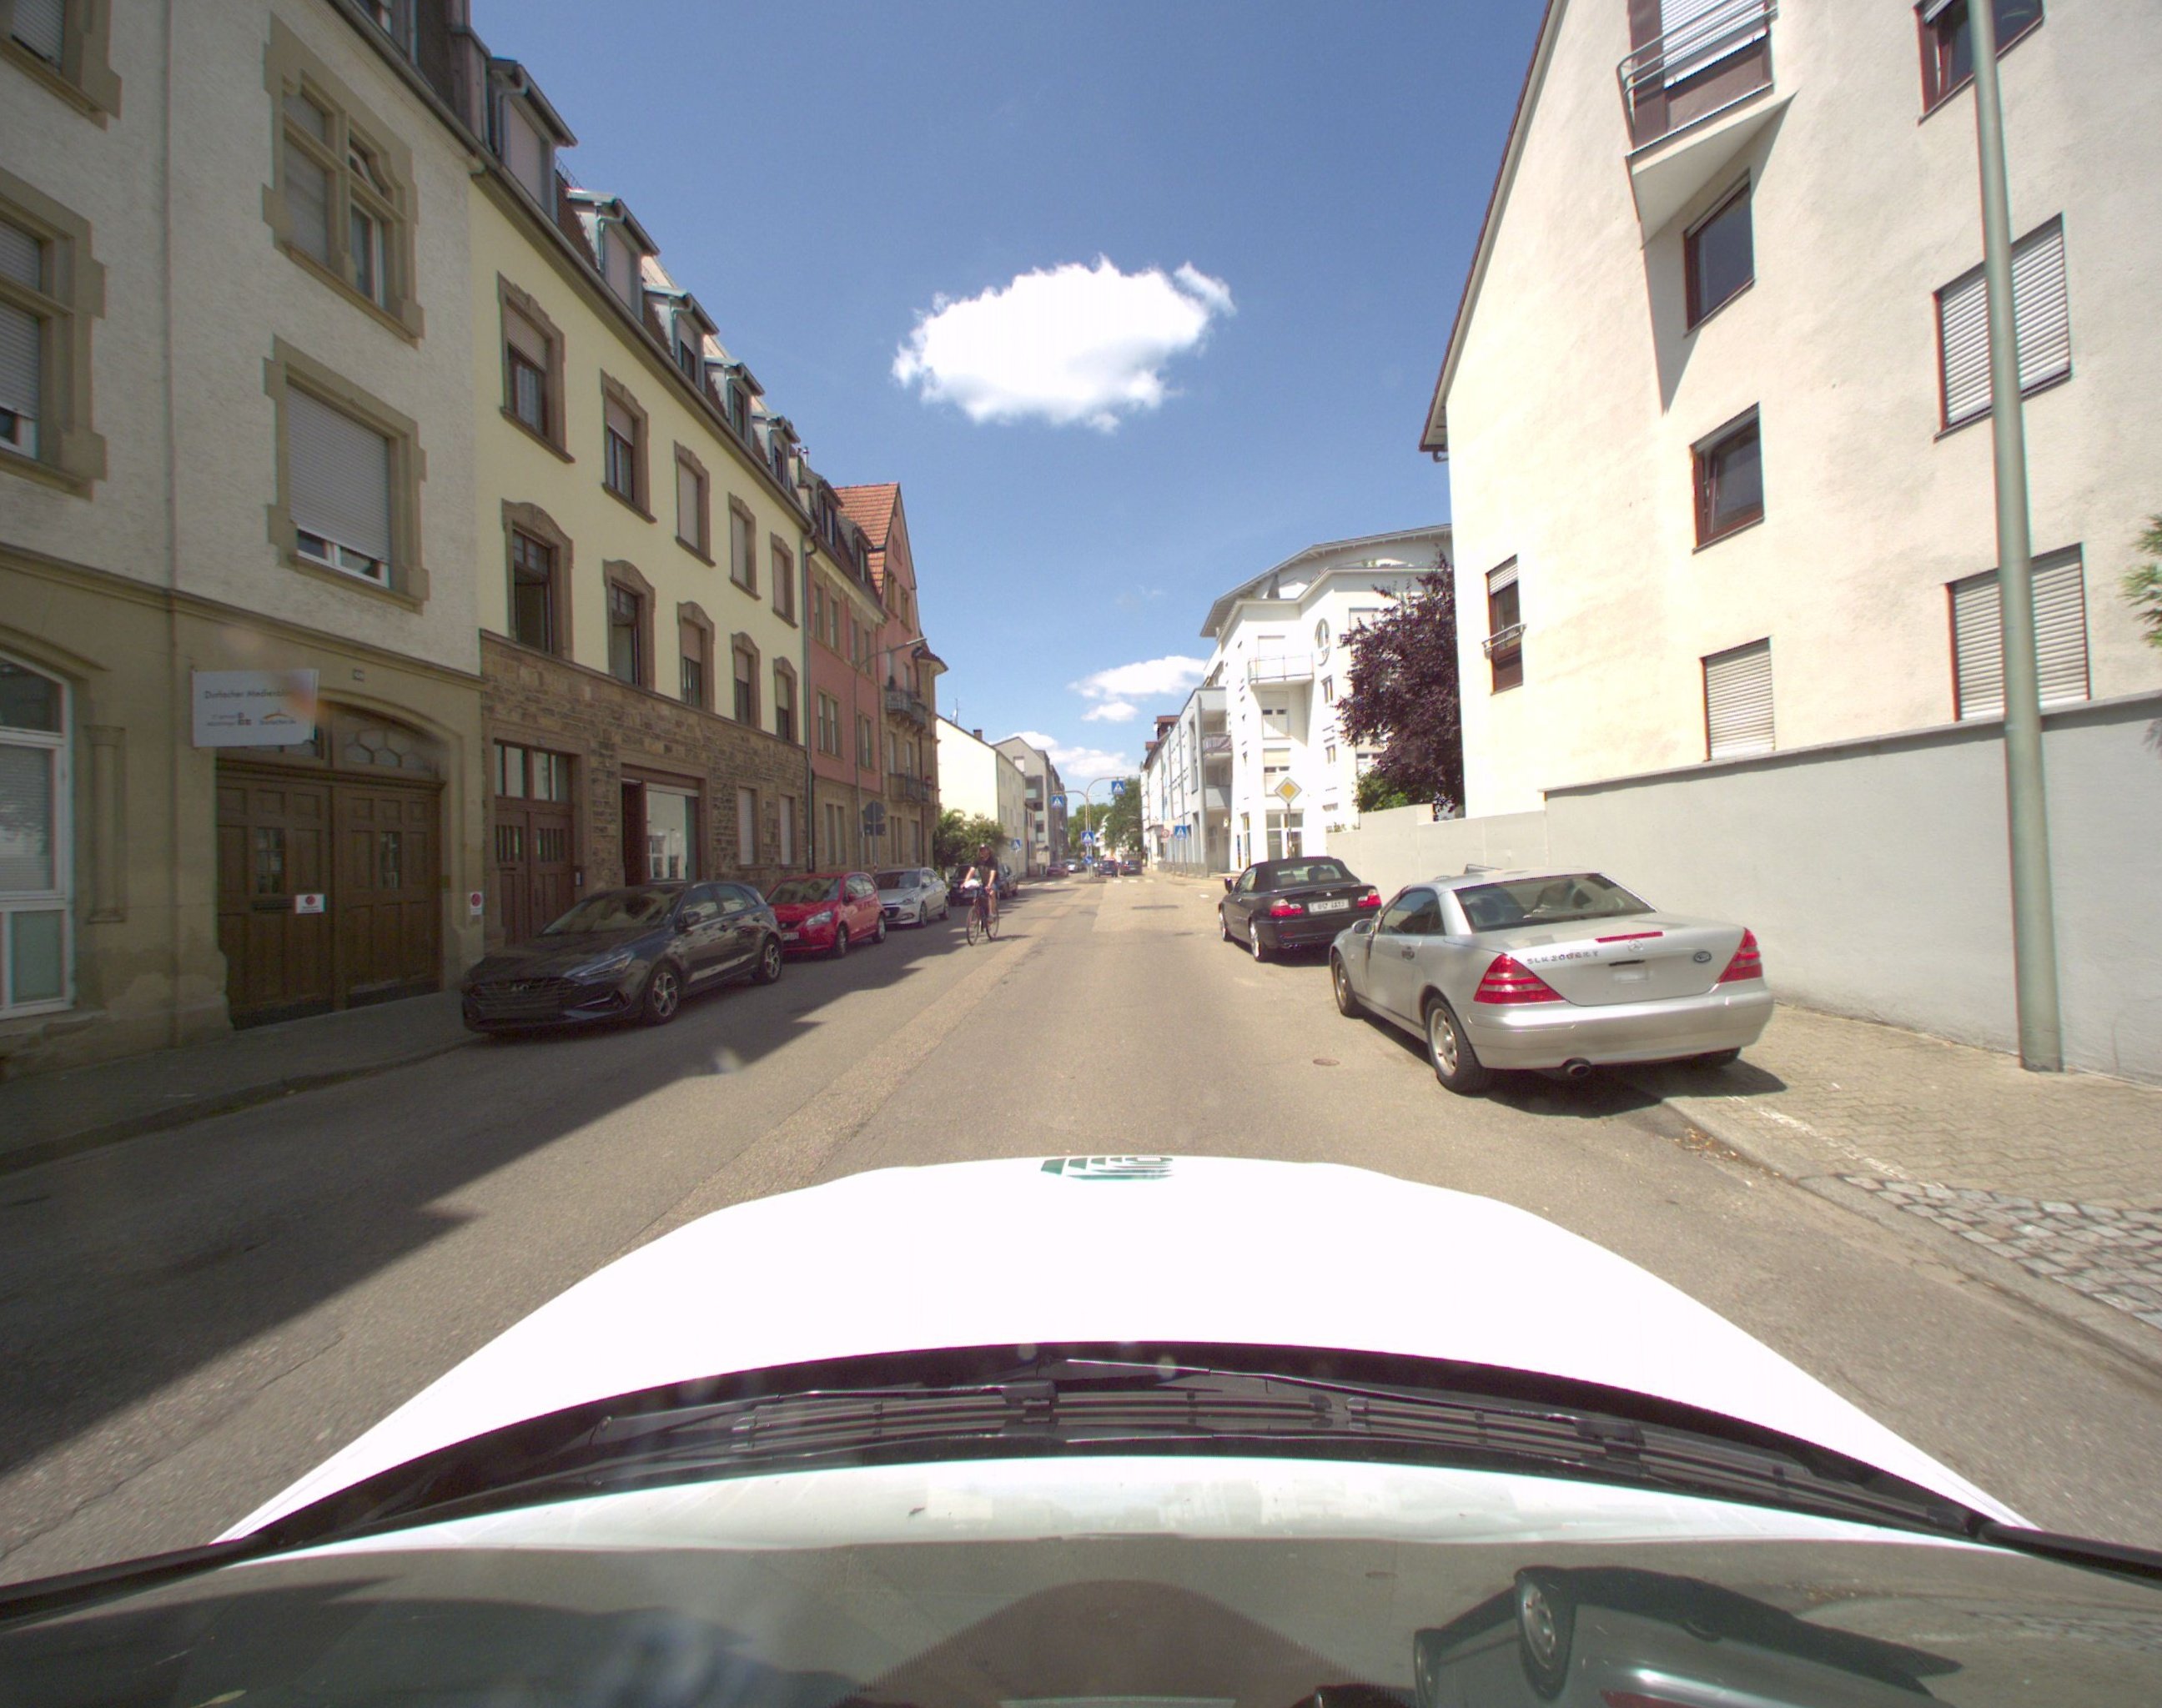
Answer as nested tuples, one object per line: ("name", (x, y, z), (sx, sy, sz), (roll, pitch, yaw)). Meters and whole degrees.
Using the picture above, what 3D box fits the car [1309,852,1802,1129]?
("car", (3.037, 0.735, 6.219), (1.579, 1.353, 3.824), (-4, -1, 2))

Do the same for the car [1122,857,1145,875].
("car", (4.651, 1.036, 72.342), (1.704, 1.508, 3.999), (-2, -1, 0))

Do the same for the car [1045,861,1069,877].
("car", (-2.325, 1.480, 79.997), (1.826, 1.417, 4.294), (-2, -1, 4))

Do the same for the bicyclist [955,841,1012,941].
("bicyclist", (-1.802, 0.669, 15.248), (0.637, 1.762, 1.170), (-4, -1, 10))

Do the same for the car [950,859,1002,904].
("car", (-3.860, 1.001, 30.254), (1.431, 1.522, 2.697), (-3, -1, 2))

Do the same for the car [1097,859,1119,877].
("car", (2.275, 1.133, 68.492), (1.709, 1.402, 4.002), (-3, 0, 2))

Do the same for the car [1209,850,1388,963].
("car", (3.135, 0.685, 12.616), (1.651, 1.376, 4.239), (-3, 0, 1))

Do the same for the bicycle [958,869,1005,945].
("bicycle", (-1.843, 0.954, 15.312), (0.227, 1.275, 1.888), (-5, -1, 11))

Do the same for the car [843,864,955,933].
("car", (-4.499, 1.055, 20.723), (1.628, 1.431, 4.022), (-4, 0, 4))

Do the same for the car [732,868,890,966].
("car", (-4.782, 1.050, 14.916), (1.592, 1.442, 3.496), (-3, 0, 1))

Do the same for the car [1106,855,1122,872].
("car", (4.102, 1.131, 100.707), (1.832, 2.013, 4.002), (-2, 0, 2))

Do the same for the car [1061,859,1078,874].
("car", (-1.512, 1.636, 107.721), (1.748, 1.892, 4.343), (0, 0, 5))

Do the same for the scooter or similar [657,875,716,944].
("scooter or similar", (-7.558, 1.042, 15.649), (0.373, 1.220, 1.320), (-3, 0, 2))

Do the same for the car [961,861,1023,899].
("car", (-3.699, 1.055, 34.597), (1.775, 1.458, 4.638), (-3, -1, 3))

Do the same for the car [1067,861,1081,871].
("car", (-1.014, 1.822, 120.894), (1.716, 1.456, 4.007), (-1, -1, 3))

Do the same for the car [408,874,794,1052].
("car", (-5.087, 1.036, 9.474), (1.866, 1.438, 4.219), (-3, 0, 1))
